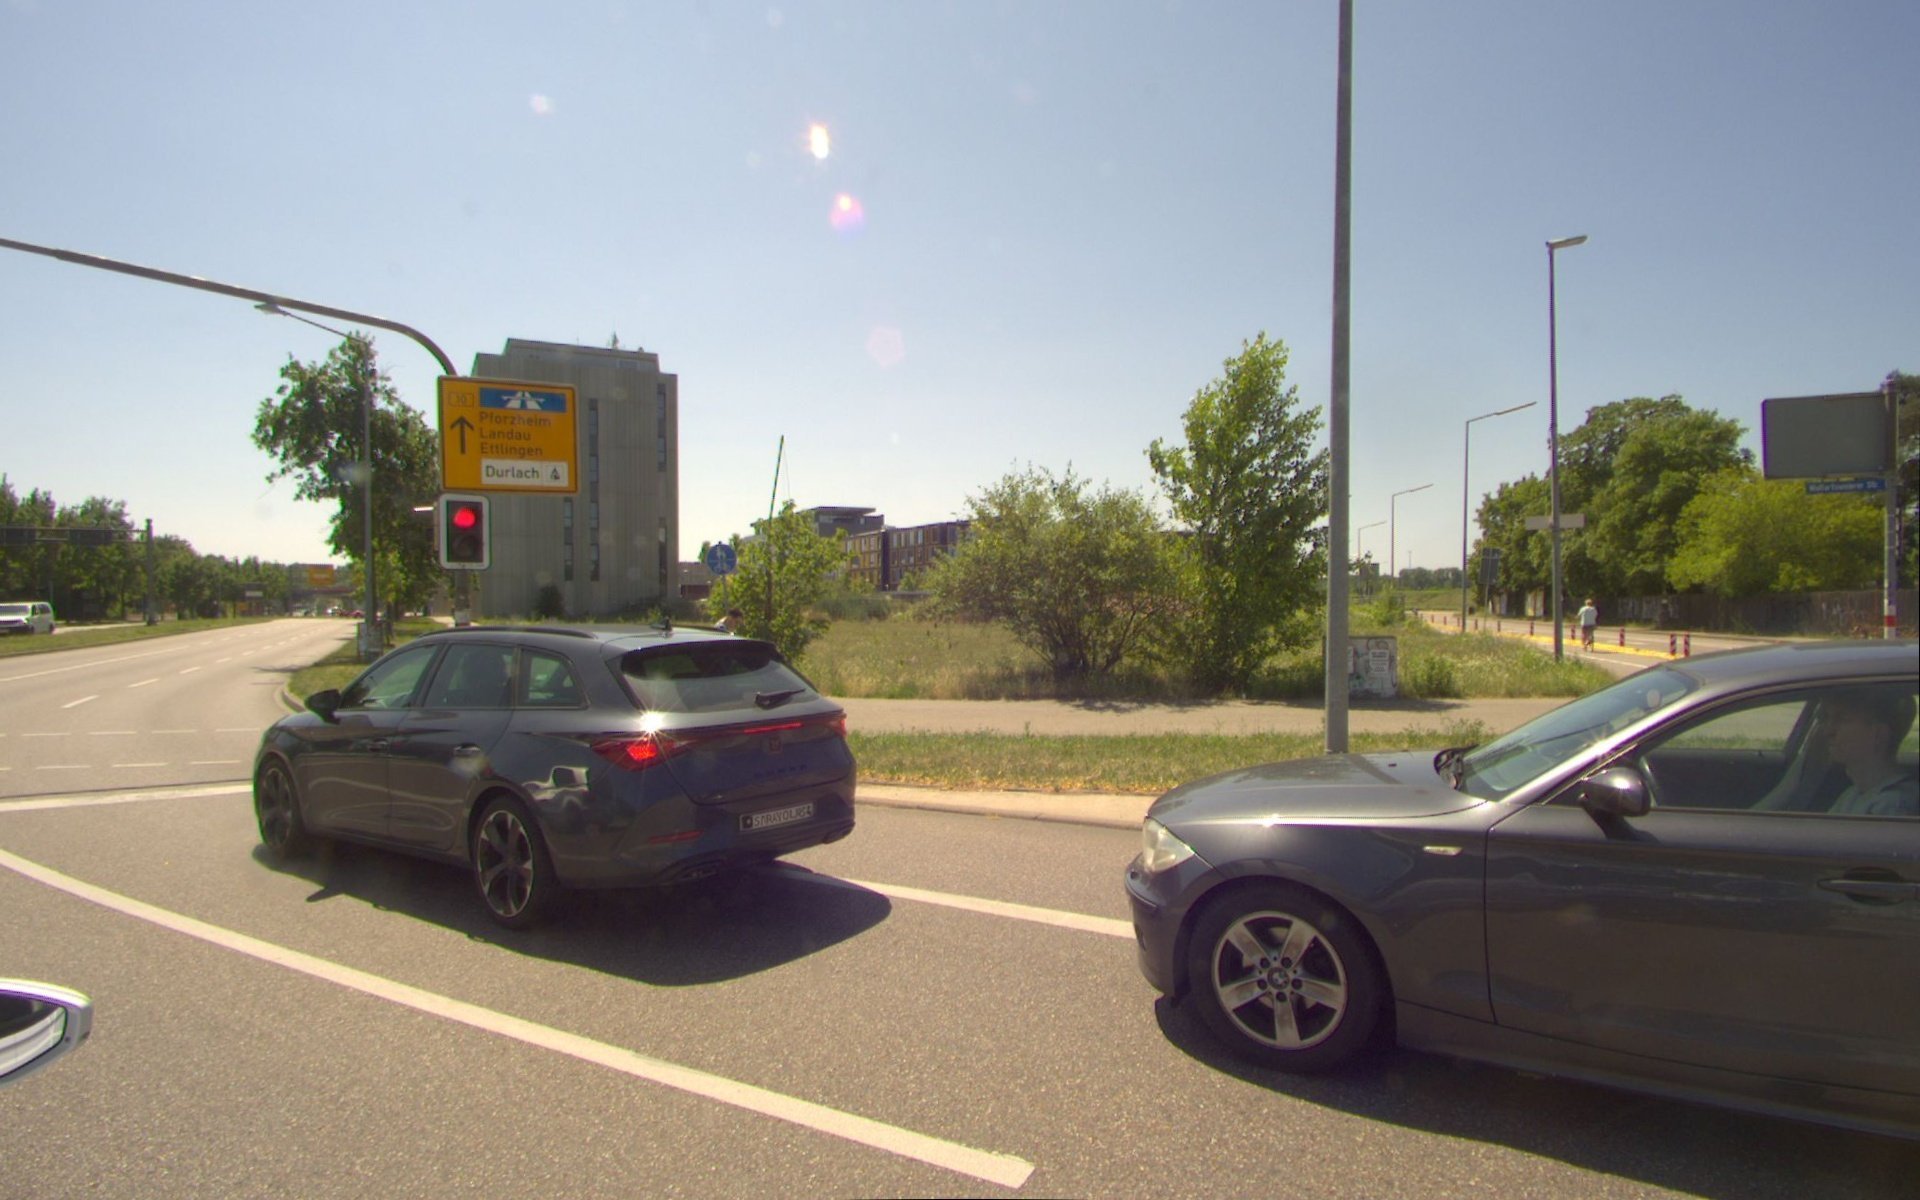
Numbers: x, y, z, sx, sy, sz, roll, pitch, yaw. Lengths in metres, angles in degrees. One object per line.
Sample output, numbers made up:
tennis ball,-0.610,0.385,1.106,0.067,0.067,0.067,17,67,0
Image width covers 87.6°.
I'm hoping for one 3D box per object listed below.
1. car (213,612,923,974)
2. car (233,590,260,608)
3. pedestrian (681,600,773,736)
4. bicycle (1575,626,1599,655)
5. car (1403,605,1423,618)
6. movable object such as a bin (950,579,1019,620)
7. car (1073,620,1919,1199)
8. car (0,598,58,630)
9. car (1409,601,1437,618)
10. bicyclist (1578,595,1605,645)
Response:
car,-2.563,0.807,6.138,4.395,1.437,1.988,0,0,35
car,-74.005,-0.104,103.896,1.780,1.714,4.123,-2,0,-28
pedestrian,-3.001,0.840,12.864,0.942,1.659,0.753,-2,1,-29
bicycle,21.291,1.364,34.025,0.619,0.891,1.867,0,0,30
car,55.867,1.415,123.480,1.728,1.565,3.689,0,0,16
movable object such as a bin,2.141,-0.042,83.734,2.770,3.190,7.577,-1,0,26
car,2.568,0.796,3.301,4.020,1.421,1.745,0,-1,31
car,-48.588,0.708,51.953,1.842,1.575,3.979,0,0,-30
car,42.156,0.848,91.210,1.728,1.565,3.689,0,0,16
bicyclist,21.317,0.656,33.823,0.737,1.662,1.157,1,0,31
